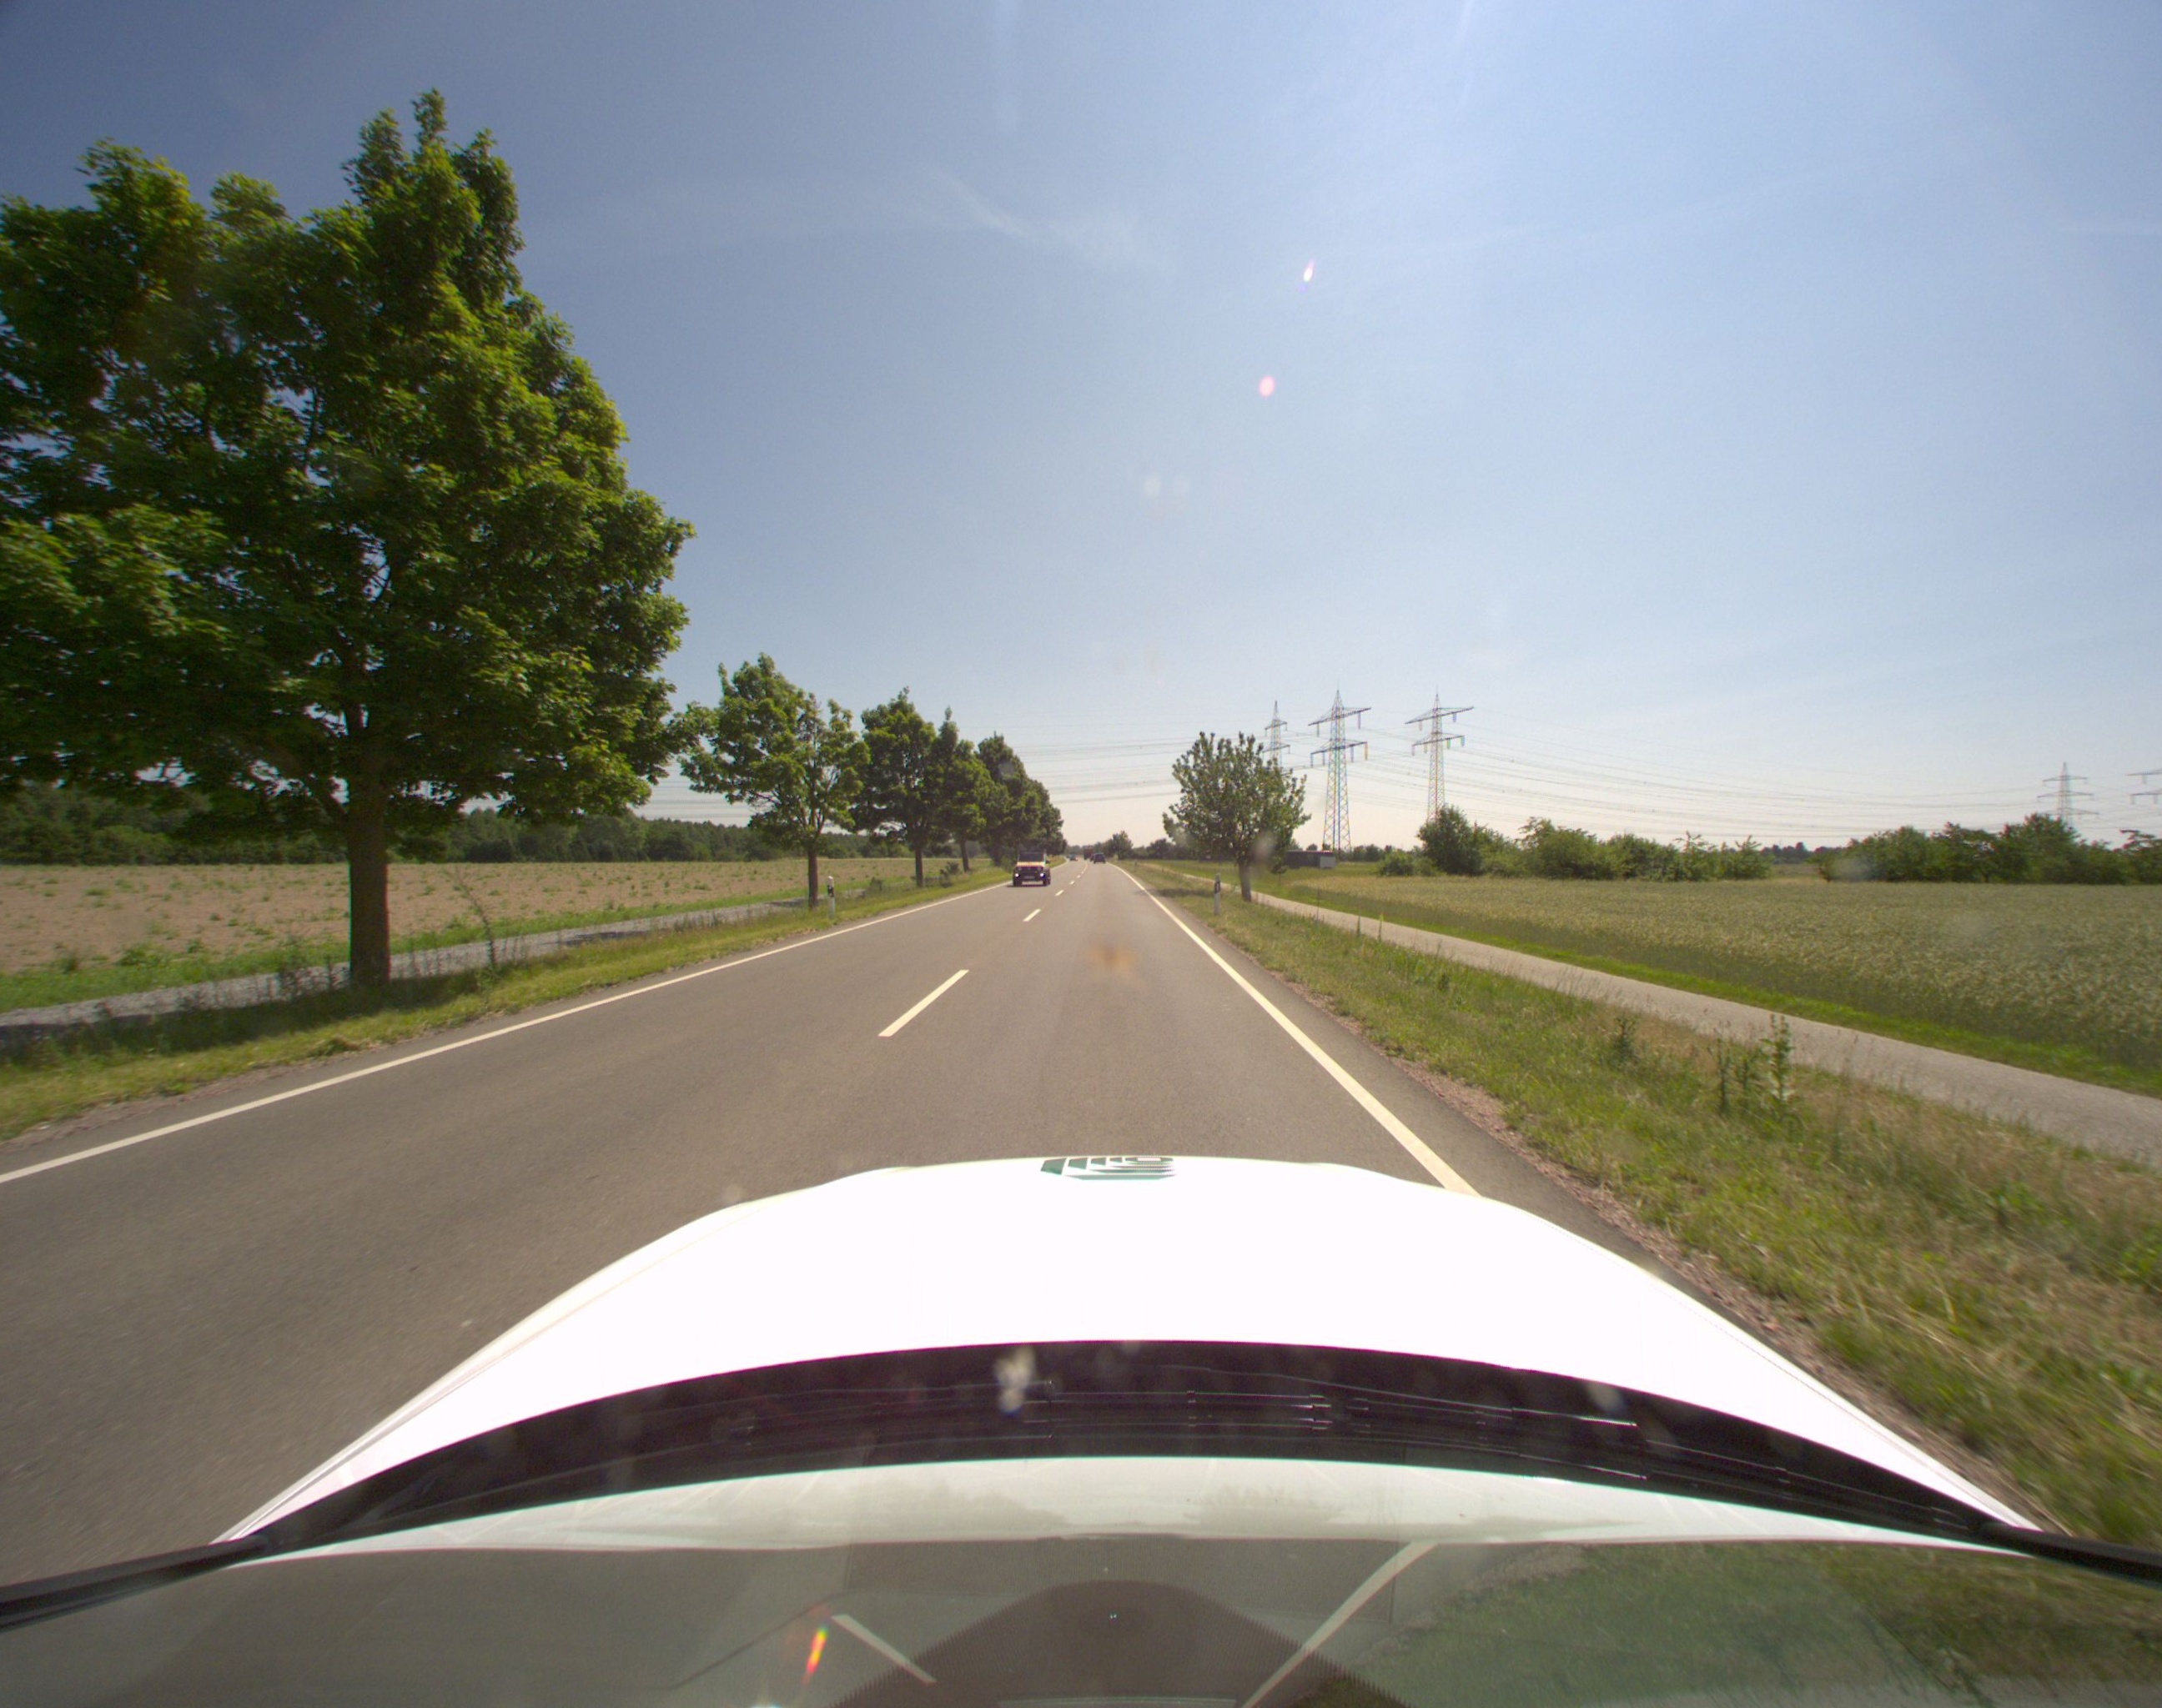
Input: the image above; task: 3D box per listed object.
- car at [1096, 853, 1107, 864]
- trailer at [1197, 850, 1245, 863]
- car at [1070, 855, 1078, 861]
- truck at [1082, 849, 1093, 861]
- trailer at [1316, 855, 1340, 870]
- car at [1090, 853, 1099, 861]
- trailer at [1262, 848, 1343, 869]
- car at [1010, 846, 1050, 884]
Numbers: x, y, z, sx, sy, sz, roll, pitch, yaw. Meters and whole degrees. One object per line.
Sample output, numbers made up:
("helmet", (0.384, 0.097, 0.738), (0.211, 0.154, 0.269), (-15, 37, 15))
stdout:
("car", (3.270, 0.722, 132.036), (1.709, 1.694, 3.989), (-1, 0, 1))
("trailer", (37.668, 0.598, 219.866), (12.381, 3.473, 3.802), (1, 0, -3))
("car", (-1.662, 0.983, 186.703), (1.700, 1.332, 3.997), (-1, 0, -1))
("truck", (1.716, 0.199, 219.157), (2.366, 3.140, 8.735), (0, 0, -4))
("trailer", (42.468, 1.470, 139.973), (3.397, 2.462, 2.037), (0, 0, -1))
("car", (2.780, 0.608, 169.166), (1.846, 1.523, 3.997), (-1, 0, -2))
("trailer", (38.729, 0.810, 142.688), (13.471, 3.475, 3.275), (0, 0, -2))
("car", (-2.549, 0.553, 41.488), (1.675, 1.849, 4.001), (-1, 0, 2))
